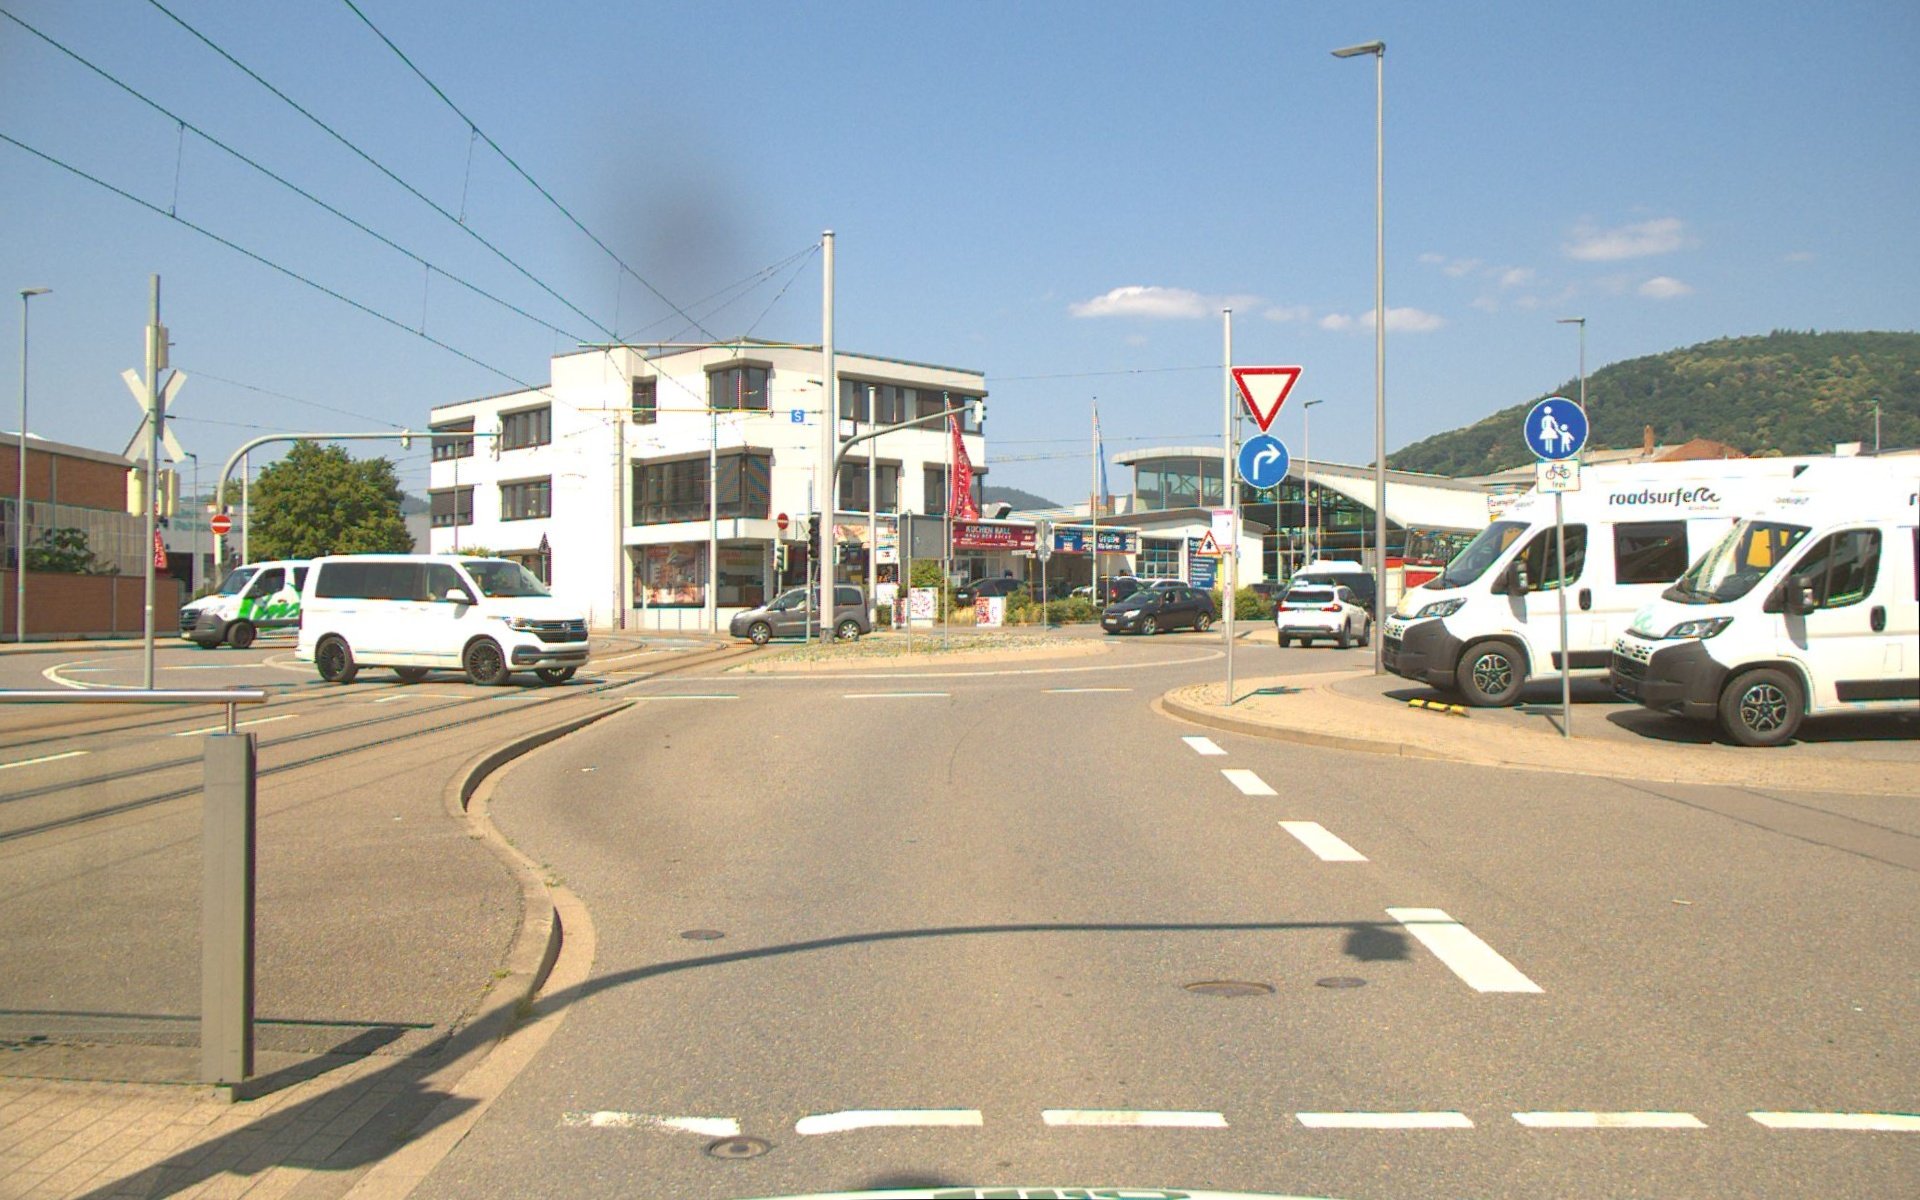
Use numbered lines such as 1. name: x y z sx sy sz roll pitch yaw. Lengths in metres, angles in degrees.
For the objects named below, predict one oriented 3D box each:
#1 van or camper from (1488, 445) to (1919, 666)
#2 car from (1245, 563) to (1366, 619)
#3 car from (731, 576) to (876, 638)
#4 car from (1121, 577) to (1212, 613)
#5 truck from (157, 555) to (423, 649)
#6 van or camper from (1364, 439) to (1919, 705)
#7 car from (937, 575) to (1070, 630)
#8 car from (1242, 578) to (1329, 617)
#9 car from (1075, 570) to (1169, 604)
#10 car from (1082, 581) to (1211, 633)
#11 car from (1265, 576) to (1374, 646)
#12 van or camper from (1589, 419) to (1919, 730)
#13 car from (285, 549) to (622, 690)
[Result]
1. van or camper: 11.860 -0.665 25.042 6.917 2.998 2.335 -2 0 0
2. car: 12.715 -0.368 60.718 4.599 1.943 2.066 -1 1 -42
3. car: -4.761 0.203 50.312 4.311 1.850 1.987 0 0 -7
4. car: 9.962 -0.226 79.495 1.853 1.616 4.897 -3 -2 42
5. truck: -17.921 0.033 44.541 6.341 2.378 2.173 0 0 -45
6. van or camper: 7.779 -0.317 19.179 5.689 2.822 2.092 -1 1 2
7. car: 1.690 0.061 62.757 5.239 2.000 1.935 -1 0 -43
8. car: 14.258 -0.121 72.310 1.965 1.646 3.975 -1 0 43
9. car: 7.195 -0.584 73.221 1.997 1.452 4.290 0 0 42
10. car: 6.211 0.208 54.750 4.205 1.583 1.940 -2 1 -41
11. car: 9.651 0.265 44.151 1.953 1.763 4.562 -1 0 24
12. van or camper: 9.250 -0.269 16.200 5.390 2.863 2.049 0 2 4
13. car: -7.959 0.275 25.981 4.902 2.049 2.168 0 0 25
